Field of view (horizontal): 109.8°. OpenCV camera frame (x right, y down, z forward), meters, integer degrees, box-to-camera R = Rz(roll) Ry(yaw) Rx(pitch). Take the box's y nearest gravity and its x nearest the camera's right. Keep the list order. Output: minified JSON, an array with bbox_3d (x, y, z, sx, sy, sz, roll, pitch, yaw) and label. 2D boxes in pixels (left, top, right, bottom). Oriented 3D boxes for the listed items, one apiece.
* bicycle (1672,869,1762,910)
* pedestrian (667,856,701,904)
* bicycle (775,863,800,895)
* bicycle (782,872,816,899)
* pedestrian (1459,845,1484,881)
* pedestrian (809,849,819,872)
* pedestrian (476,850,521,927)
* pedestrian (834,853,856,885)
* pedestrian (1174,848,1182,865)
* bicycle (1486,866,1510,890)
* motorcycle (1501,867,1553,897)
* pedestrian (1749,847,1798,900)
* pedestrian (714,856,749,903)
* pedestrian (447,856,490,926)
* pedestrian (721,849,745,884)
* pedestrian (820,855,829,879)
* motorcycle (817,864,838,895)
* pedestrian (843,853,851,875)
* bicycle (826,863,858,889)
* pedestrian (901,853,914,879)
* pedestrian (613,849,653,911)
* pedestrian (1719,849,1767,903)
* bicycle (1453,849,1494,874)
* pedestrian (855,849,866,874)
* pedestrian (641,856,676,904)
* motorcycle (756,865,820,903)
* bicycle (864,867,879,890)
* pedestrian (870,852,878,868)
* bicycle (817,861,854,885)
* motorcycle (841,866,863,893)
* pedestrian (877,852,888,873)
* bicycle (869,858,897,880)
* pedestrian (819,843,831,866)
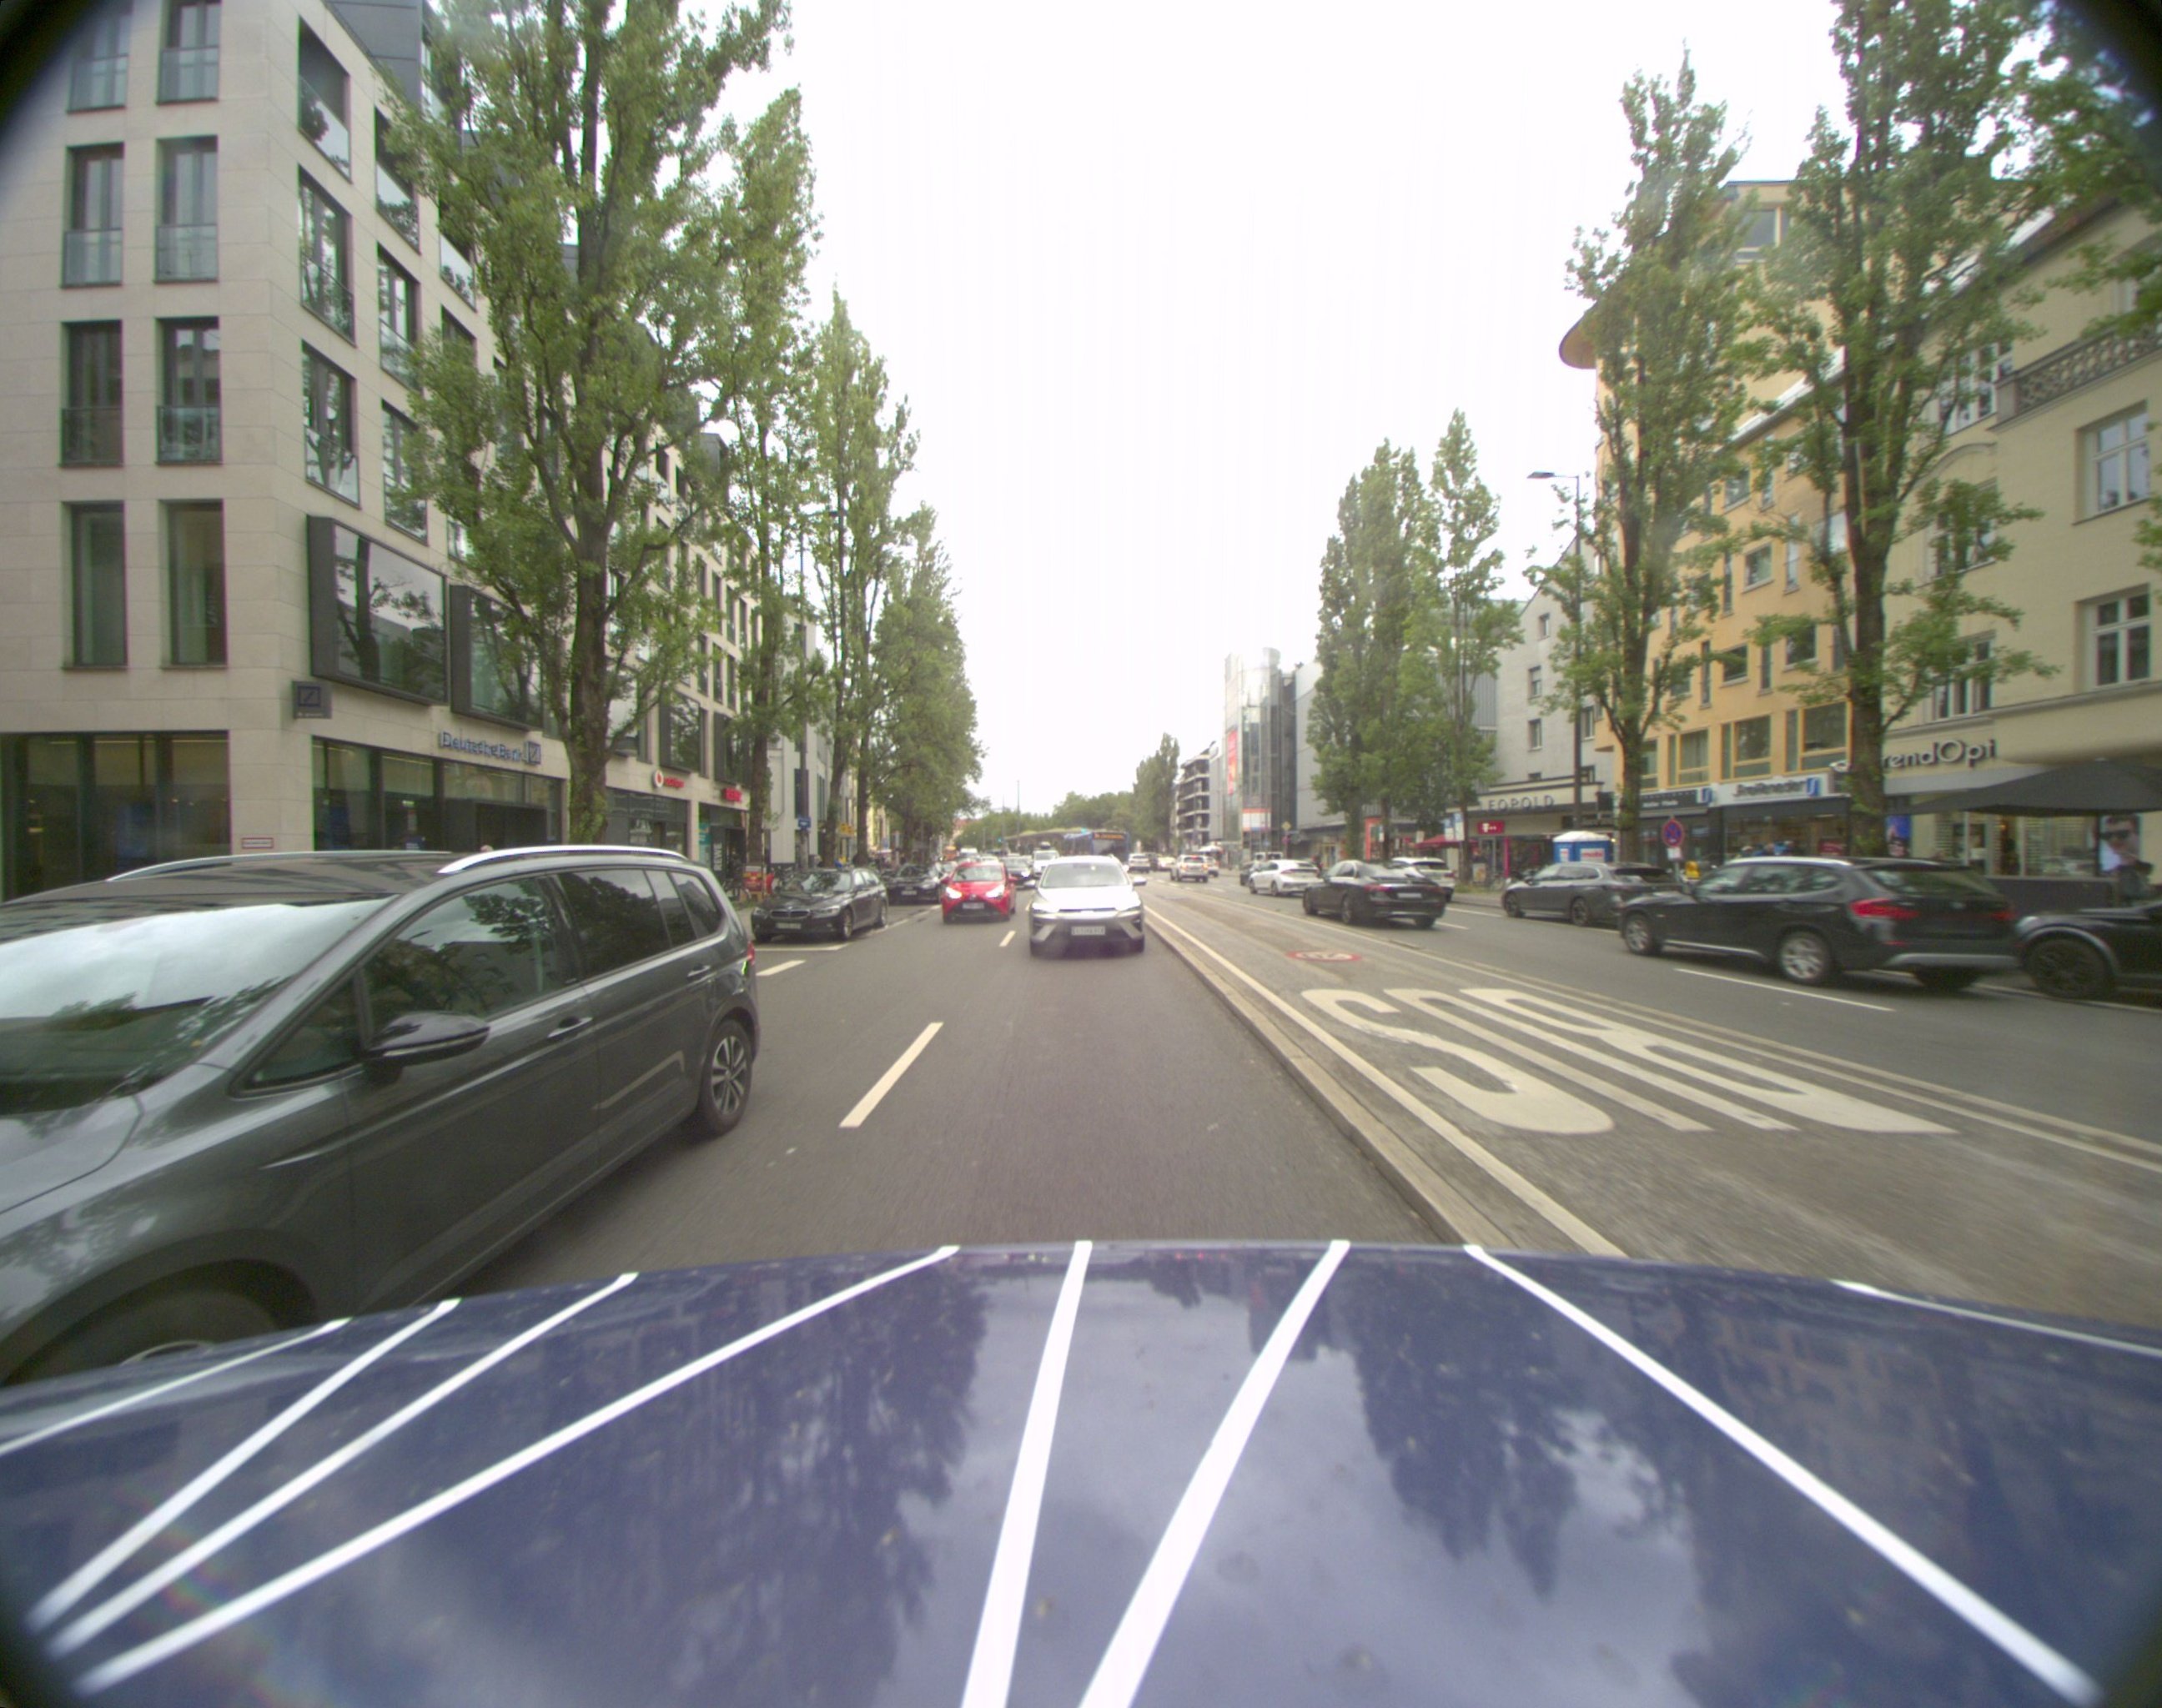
[{"bbox_3d":[16.601,0.930,19.843,2.014,1.035,0.622,0,1,-9],"label":"bicycle"},{"bbox_3d":[-13.570,0.864,26.000,0.738,1.611,0.837,0,1,-5],"label":"pedestrian"},{"bbox_3d":[-11.197,0.938,29.008,0.456,1.181,1.714,0,0,-7],"label":"bicycle"},{"bbox_3d":[-10.473,1.161,28.239,0.434,0.935,1.763,1,0,6],"label":"bicycle"},{"bbox_3d":[21.061,0.488,40.994,0.860,1.888,0.832,0,1,-5],"label":"pedestrian"},{"bbox_3d":[-18.765,0.455,53.398,0.550,1.615,0.506,-2,2,-26],"label":"pedestrian"},{"bbox_3d":[-12.639,0.729,16.485,0.550,1.628,0.559,0,1,26],"label":"pedestrian"},{"bbox_3d":[-11.844,0.744,38.136,0.792,1.610,0.613,1,1,15],"label":"pedestrian"},{"bbox_3d":[10.803,0.306,84.508,0.788,1.856,0.846,0,1,-3],"label":"pedestrian"},{"bbox_3d":[18.114,1.026,33.024,0.293,0.970,1.478,0,0,1],"label":"bicycle"},{"bbox_3d":[16.836,1.037,28.672,2.064,1.030,0.485,-2,2,-20],"label":"motorcycle"},{"bbox_3d":[21.696,0.601,23.816,0.842,1.616,0.763,-2,2,-1],"label":"pedestrian"},{"bbox_3d":[-11.789,0.844,25.656,0.837,1.567,0.937,0,1,-7],"label":"pedestrian"},{"bbox_3d":[-13.250,0.795,16.445,0.503,1.482,0.548,0,1,26],"label":"pedestrian"},{"bbox_3d":[-16.774,0.593,36.639,0.755,1.651,0.796,0,1,-2],"label":"pedestrian"},{"bbox_3d":[-16.541,0.847,48.928,0.492,1.558,0.568,0,1,-23],"label":"pedestrian"},{"bbox_3d":[-11.493,1.135,34.389,0.689,1.348,1.640,0,1,-26],"label":"motorcycle"},{"bbox_3d":[-17.308,0.734,56.154,0.492,1.625,0.568,0,1,-23],"label":"pedestrian"},{"bbox_3d":[-11.289,1.015,35.944,0.546,1.182,1.457,1,1,30],"label":"bicycle"},{"bbox_3d":[-11.032,0.742,48.286,0.716,1.666,0.783,1,1,-8],"label":"pedestrian"},{"bbox_3d":[-13.163,0.744,22.337,0.794,1.762,0.683,1,1,29],"label":"pedestrian"},{"bbox_3d":[20.662,0.669,23.741,0.842,1.616,0.763,-2,2,-1],"label":"pedestrian"},{"bbox_3d":[21.224,0.387,41.137,0.849,1.300,2.302,0,0,-7],"label":"bicycle"},{"bbox_3d":[-17.251,0.582,59.494,0.648,1.913,0.925,1,1,-8],"label":"pedestrian"},{"bbox_3d":[-14.425,0.874,25.927,0.796,1.611,0.718,0,1,-2],"label":"pedestrian"},{"bbox_3d":[-10.200,1.028,26.458,1.978,1.244,0.638,0,1,-35],"label":"motorcycle"},{"bbox_3d":[-9.952,1.155,36.062,0.644,1.057,1.769,0,0,-17],"label":"bicycle"},{"bbox_3d":[-20.937,0.632,76.759,0.693,1.639,0.797,0,1,-12],"label":"pedestrian"},{"bbox_3d":[-12.182,0.941,37.653,1.765,1.165,0.452,0,1,15],"label":"bicycle"},{"bbox_3d":[-10.261,1.108,33.996,0.689,1.149,1.640,0,0,-26],"label":"motorcycle"},{"bbox_3d":[-16.024,0.670,61.341,0.802,1.627,1.023,0,0,-8],"label":"pedestrian"},{"bbox_3d":[-11.182,0.848,42.922,1.483,1.200,0.535,0,1,-8],"label":"bicycle"},{"bbox_3d":[-18.424,0.056,54.606,0.548,1.615,0.508,-1,2,24],"label":"pedestrian"}]
